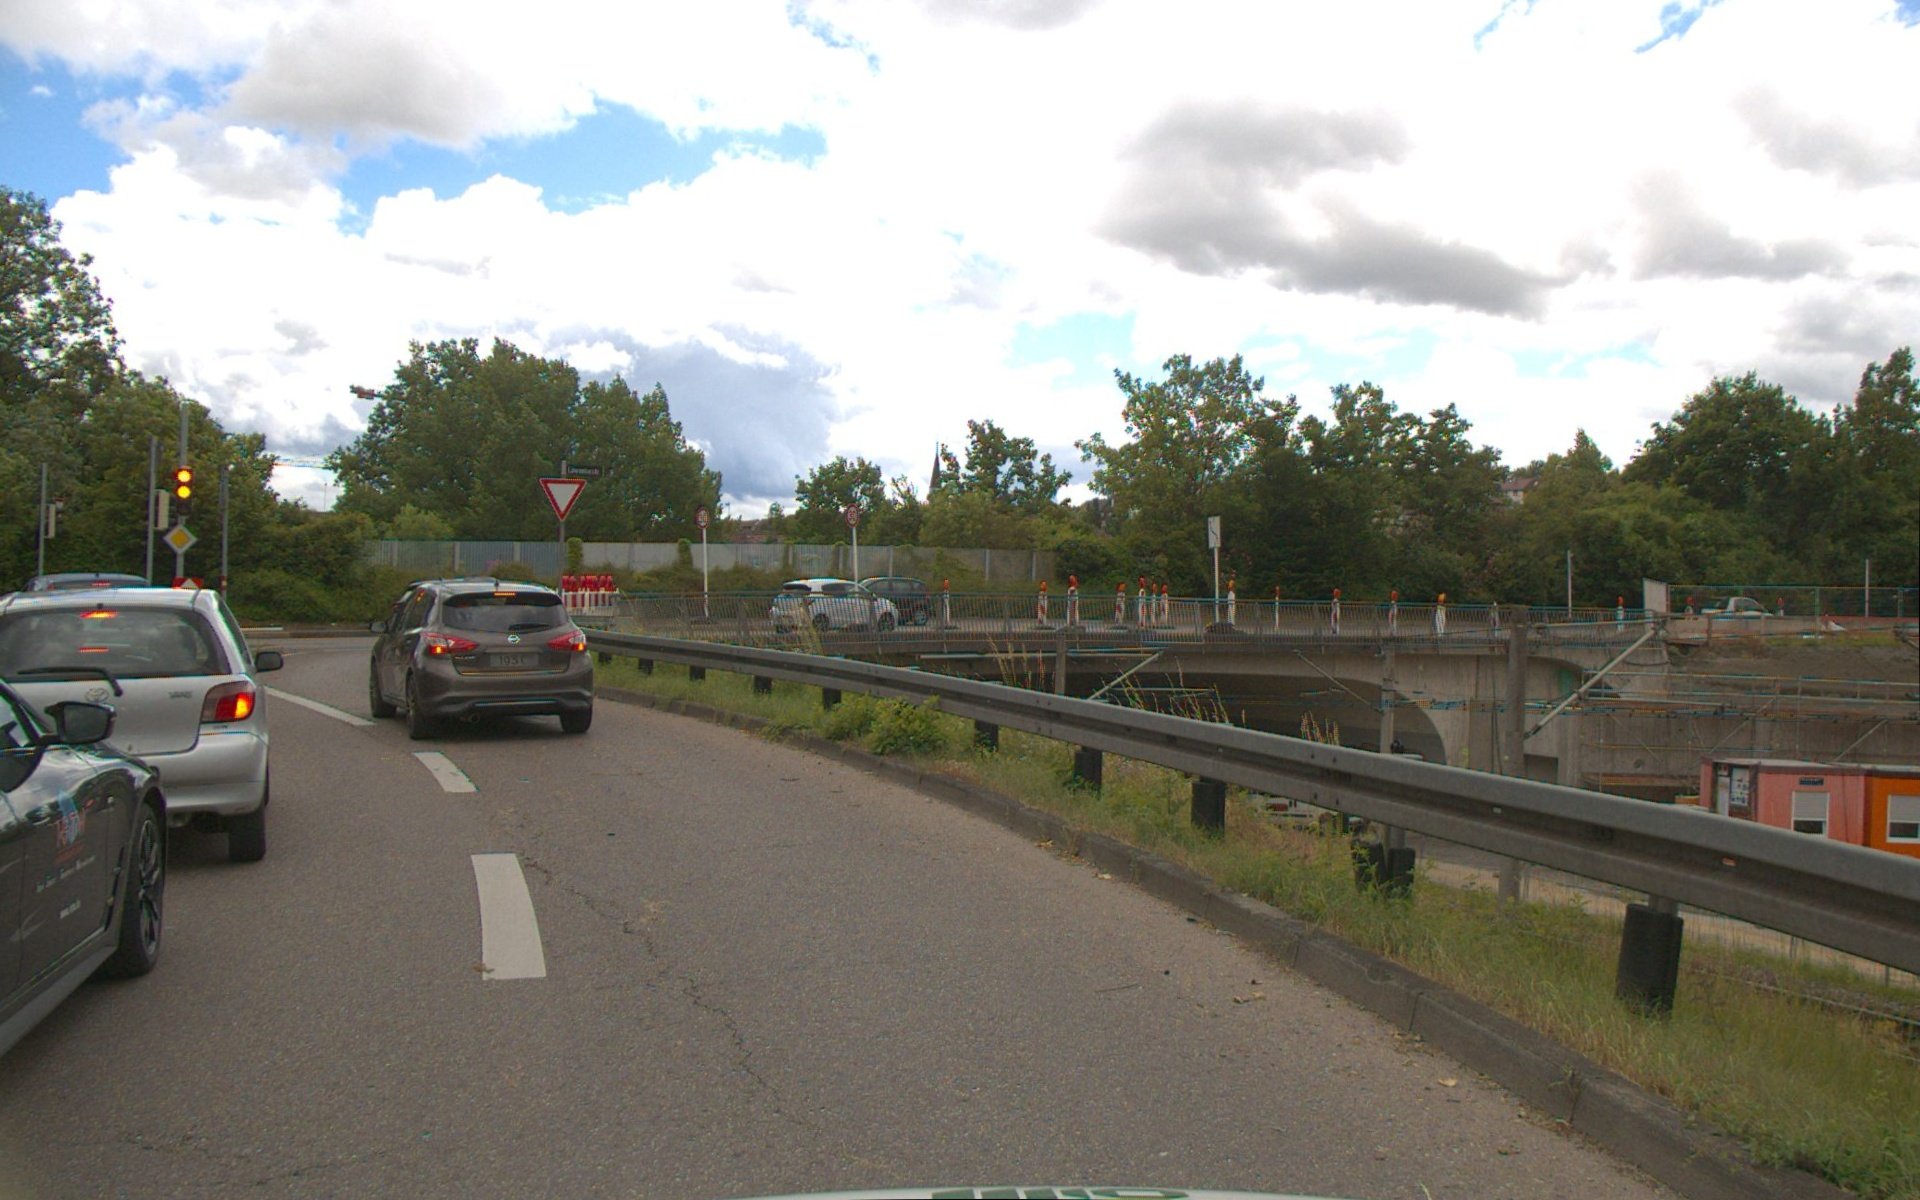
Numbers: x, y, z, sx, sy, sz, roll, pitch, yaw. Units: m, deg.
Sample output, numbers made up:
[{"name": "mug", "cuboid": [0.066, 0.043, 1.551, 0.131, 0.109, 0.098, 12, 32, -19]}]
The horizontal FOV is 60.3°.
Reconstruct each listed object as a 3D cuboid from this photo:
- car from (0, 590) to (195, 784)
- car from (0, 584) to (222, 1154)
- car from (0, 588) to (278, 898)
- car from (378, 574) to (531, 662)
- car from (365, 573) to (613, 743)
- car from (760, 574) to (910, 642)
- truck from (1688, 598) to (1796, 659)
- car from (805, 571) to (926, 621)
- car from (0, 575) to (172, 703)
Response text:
[{"name": "car", "cuboid": [-7.943, 0.677, 15.072, 1.545, 1.392, 4.047, -2, 3, -27]}, {"name": "car", "cuboid": [-3.635, 0.718, 4.898, 1.841, 1.502, 4.944, -1, 1, -15]}, {"name": "car", "cuboid": [-5.079, 0.704, 10.096, 1.646, 1.495, 3.603, -2, 1, -23]}, {"name": "car", "cuboid": [-10.065, 0.367, 33.205, 1.782, 1.579, 3.789, 3, -1, 1]}, {"name": "car", "cuboid": [-5.094, 0.523, 17.531, 1.777, 1.579, 3.964, 0, 0, -28]}, {"name": "car", "cuboid": [-3.323, 0.235, 44.601, 1.686, 1.704, 3.977, 0, -2, 41]}, {"name": "truck", "cuboid": [29.441, 1.053, 62.294, 3.156, 2.048, 1.737, 4, -1, -8]}, {"name": "car", "cuboid": [-3.176, -0.114, 55.524, 3.726, 1.579, 1.631, 0, -2, -24]}, {"name": "car", "cuboid": [-11.566, 0.445, 21.730, 1.532, 1.533, 3.334, 0, 1, -38]}]
